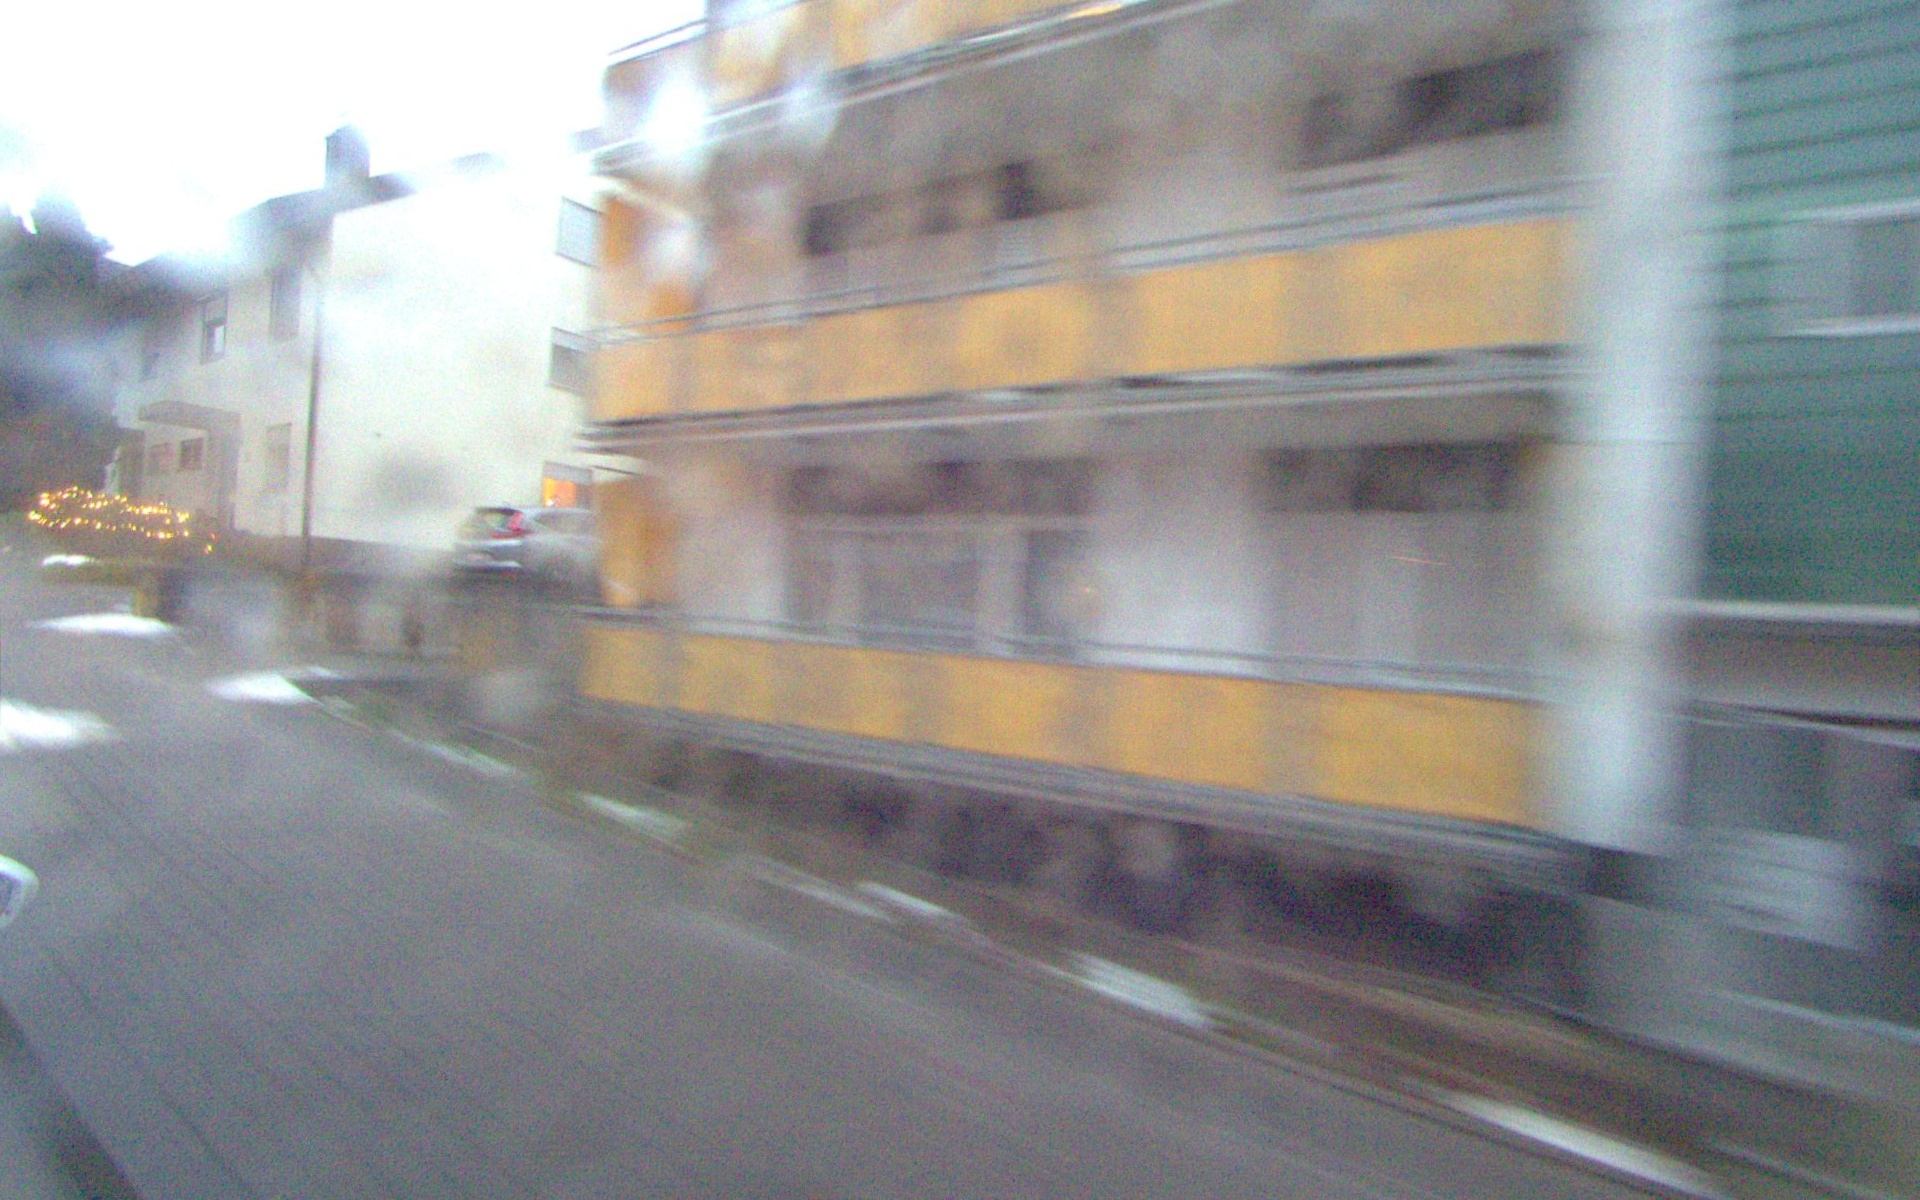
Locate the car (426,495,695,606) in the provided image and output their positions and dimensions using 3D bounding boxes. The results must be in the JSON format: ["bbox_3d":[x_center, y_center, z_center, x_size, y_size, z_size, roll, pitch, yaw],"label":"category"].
[{"bbox_3d":[-7.088,-0.905,18.310,2.028,1.672,4.250,6,5,27],"label":"car"}]
